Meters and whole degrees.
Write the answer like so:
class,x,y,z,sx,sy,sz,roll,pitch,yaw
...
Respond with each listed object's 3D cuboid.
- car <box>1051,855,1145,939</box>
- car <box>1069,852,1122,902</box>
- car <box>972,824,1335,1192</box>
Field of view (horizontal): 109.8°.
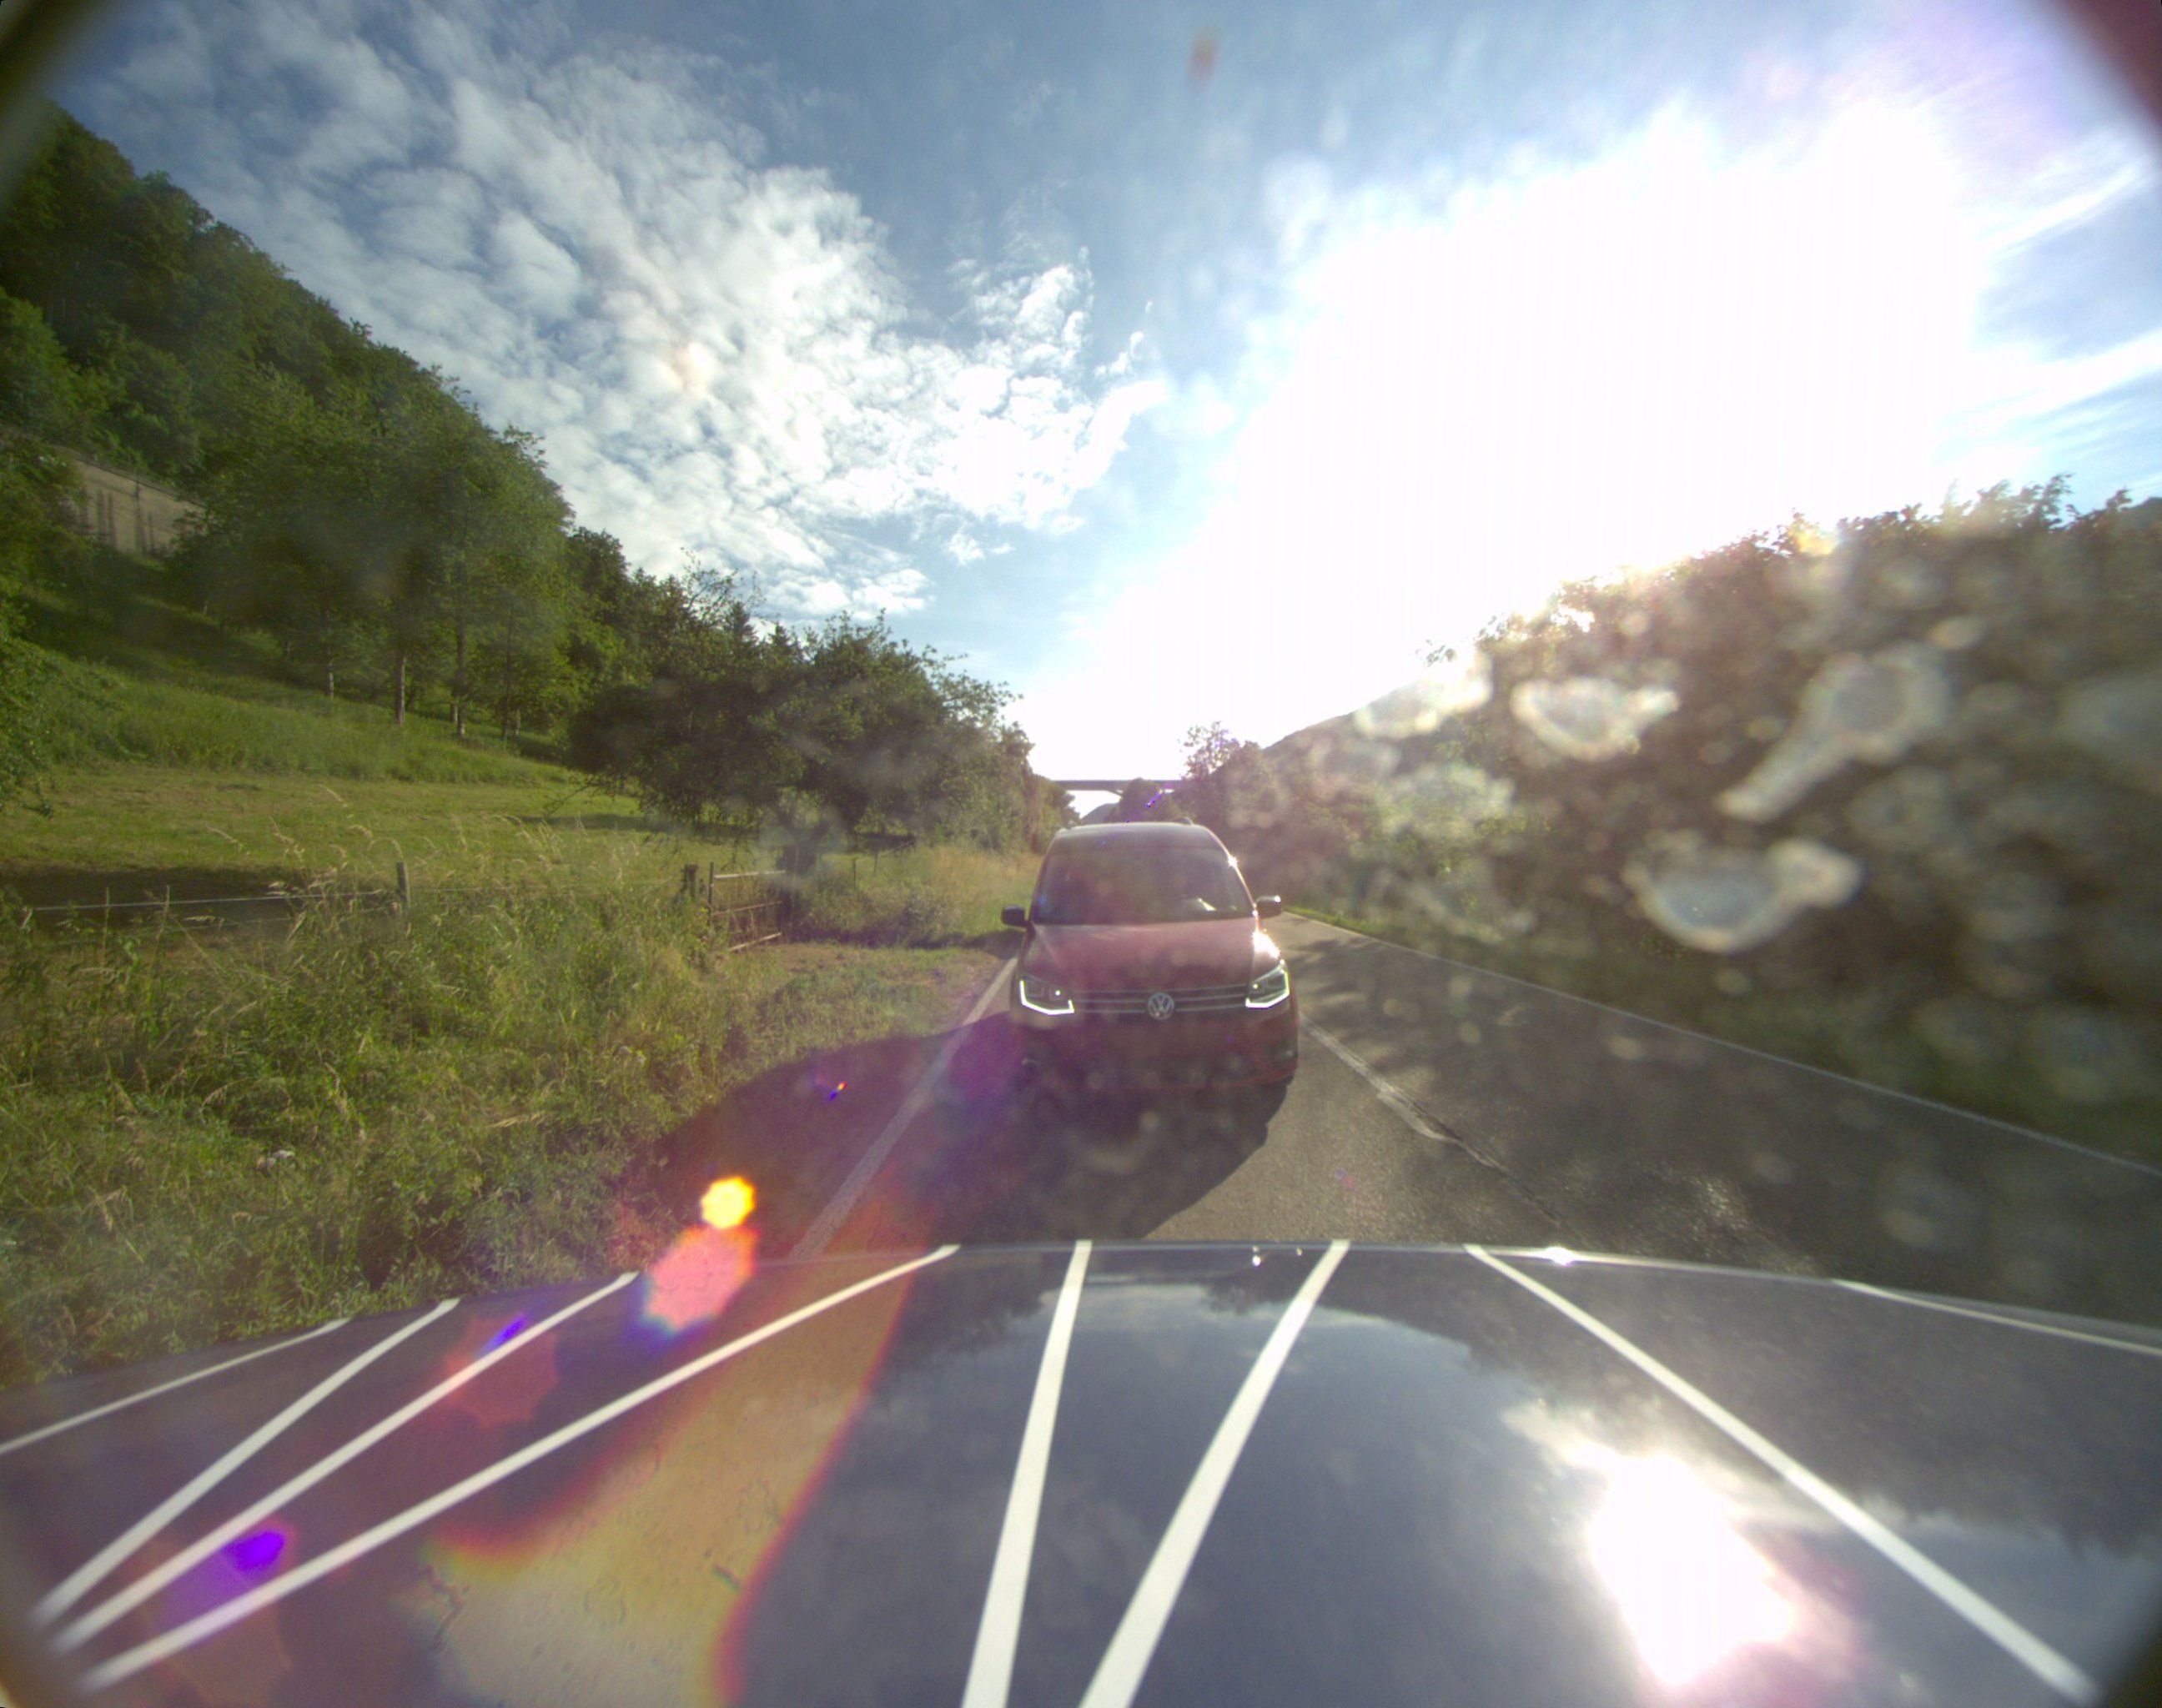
class,x,y,z,sx,sy,sz,roll,pitch,yaw
car,0.370,0.851,17.047,1.753,1.513,4.288,-3,1,1
car,0.541,0.785,28.394,1.753,1.608,4.288,-3,1,1
car,0.413,0.773,6.028,1.753,1.799,4.288,-3,1,1
